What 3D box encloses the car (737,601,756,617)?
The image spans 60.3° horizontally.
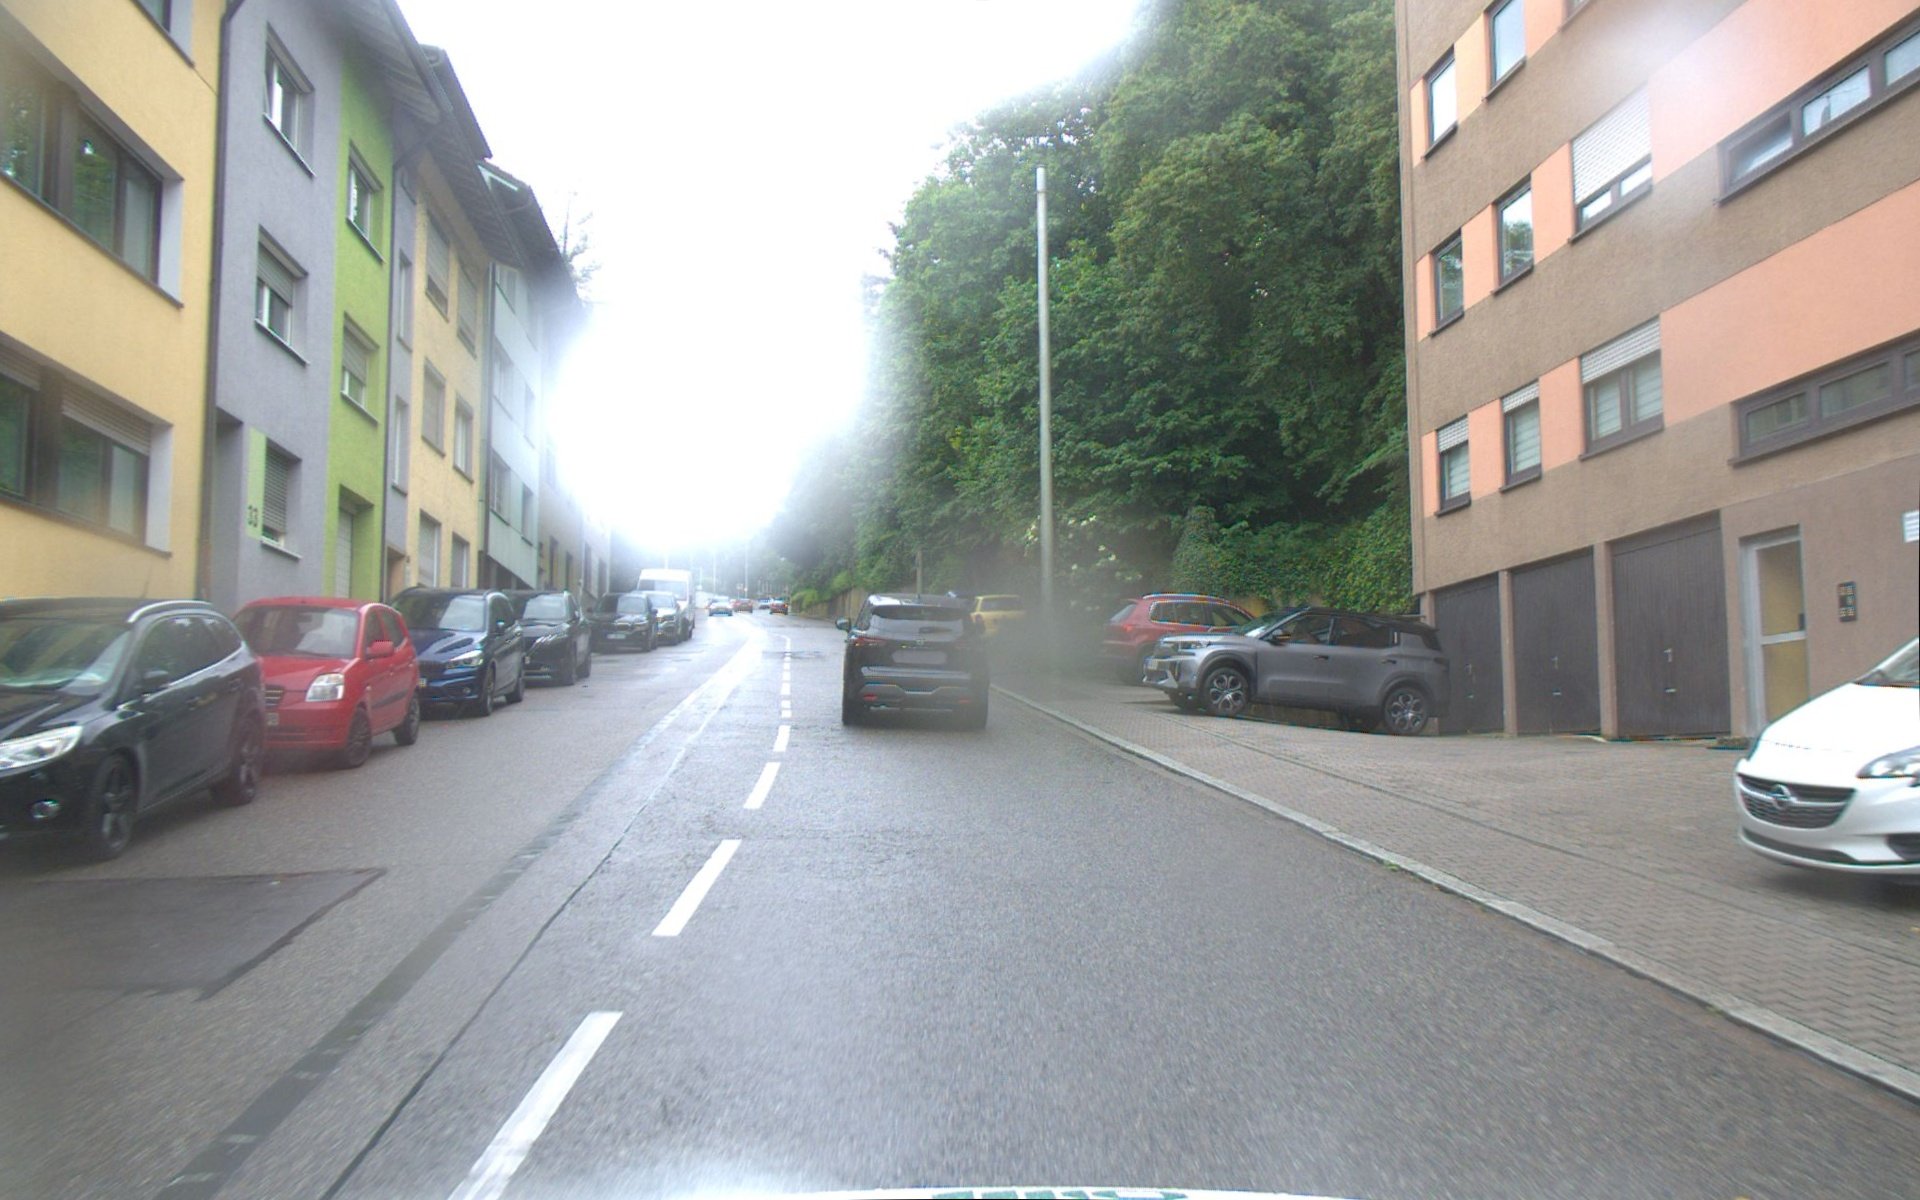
[{"bbox_3d":[-22.880,0.963,177.371,2.035,1.587,3.993,1,0,-8],"label":"car"}]

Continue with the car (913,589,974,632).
[{"bbox_3d":[-0.672,0.408,63.858,1.777,1.557,4.408,-1,0,-8],"label":"car"}]

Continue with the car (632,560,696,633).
[{"bbox_3d":[-10.702,-0.137,60.209,1.952,2.518,5.775,1,0,-7],"label":"car"}]

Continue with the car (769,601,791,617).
[{"bbox_3d":[-19.120,0.979,175.436,2.036,1.587,3.991,1,0,-9],"label":"car"}]

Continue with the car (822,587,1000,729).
[{"bbox_3d":[-0.734,0.669,21.396,1.955,1.586,3.995,2,0,-6],"label":"car"}]

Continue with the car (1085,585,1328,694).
[{"bbox_3d":[4.595,0.726,31.108,4.122,1.765,1.756,4,-1,-10],"label":"car"}]

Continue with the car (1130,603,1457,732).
[{"bbox_3d":[4.638,0.924,23.297,4.120,1.522,1.757,4,-1,-9],"label":"car"}]

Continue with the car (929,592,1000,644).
[{"bbox_3d":[0.106,0.564,53.151,1.776,1.557,4.411,-1,0,-7],"label":"car"}]

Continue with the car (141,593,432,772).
[{"bbox_3d":[-6.257,0.697,15.764,1.695,1.498,3.486,1,0,-7],"label":"car"}]

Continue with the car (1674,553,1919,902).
[{"bbox_3d":[6.142,0.471,8.882,3.891,1.556,1.688,-5,1,-10],"label":"car"}]

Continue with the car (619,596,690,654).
[{"bbox_3d":[-9.842,0.771,53.547,1.952,1.786,4.473,1,0,-7],"label":"car"}]

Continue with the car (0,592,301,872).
[{"bbox_3d":[-6.010,0.704,11.012,1.956,1.498,4.341,1,0,-7],"label":"car"}]

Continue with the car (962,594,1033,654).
[{"bbox_3d":[1.010,0.649,46.237,1.600,1.557,3.997,2,0,-4],"label":"car"}]

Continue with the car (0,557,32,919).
[{"bbox_3d":[-5.300,0.640,5.658,1.954,1.679,4.438,1,0,-4],"label":"car"}]

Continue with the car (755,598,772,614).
[{"bbox_3d":[-26.795,0.854,225.815,1.954,2.049,3.996,2,-2,-3],"label":"car"}]

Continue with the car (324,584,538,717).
[{"bbox_3d":[-7.030,0.613,22.469,1.956,1.613,4.464,1,0,-7],"label":"car"}]

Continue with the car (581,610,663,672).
[{"bbox_3d":[-9.613,1.136,47.319,1.952,1.613,4.298,1,0,-7],"label":"car"}]

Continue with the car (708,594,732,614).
[{"bbox_3d":[-20.385,0.315,140.655,1.956,1.586,3.993,2,0,-8],"label":"car"}]

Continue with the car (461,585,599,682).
[{"bbox_3d":[-7.623,0.552,29.685,1.818,1.613,4.298,1,0,-7],"label":"car"}]

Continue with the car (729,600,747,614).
[{"bbox_3d":[-26.470,0.852,197.063,2.035,1.587,3.994,1,0,-7],"label":"car"}]

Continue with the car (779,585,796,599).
[{"bbox_3d":[-21.351,-0.924,204.622,1.954,1.587,3.996,0,-2,-4],"label":"car"}]
